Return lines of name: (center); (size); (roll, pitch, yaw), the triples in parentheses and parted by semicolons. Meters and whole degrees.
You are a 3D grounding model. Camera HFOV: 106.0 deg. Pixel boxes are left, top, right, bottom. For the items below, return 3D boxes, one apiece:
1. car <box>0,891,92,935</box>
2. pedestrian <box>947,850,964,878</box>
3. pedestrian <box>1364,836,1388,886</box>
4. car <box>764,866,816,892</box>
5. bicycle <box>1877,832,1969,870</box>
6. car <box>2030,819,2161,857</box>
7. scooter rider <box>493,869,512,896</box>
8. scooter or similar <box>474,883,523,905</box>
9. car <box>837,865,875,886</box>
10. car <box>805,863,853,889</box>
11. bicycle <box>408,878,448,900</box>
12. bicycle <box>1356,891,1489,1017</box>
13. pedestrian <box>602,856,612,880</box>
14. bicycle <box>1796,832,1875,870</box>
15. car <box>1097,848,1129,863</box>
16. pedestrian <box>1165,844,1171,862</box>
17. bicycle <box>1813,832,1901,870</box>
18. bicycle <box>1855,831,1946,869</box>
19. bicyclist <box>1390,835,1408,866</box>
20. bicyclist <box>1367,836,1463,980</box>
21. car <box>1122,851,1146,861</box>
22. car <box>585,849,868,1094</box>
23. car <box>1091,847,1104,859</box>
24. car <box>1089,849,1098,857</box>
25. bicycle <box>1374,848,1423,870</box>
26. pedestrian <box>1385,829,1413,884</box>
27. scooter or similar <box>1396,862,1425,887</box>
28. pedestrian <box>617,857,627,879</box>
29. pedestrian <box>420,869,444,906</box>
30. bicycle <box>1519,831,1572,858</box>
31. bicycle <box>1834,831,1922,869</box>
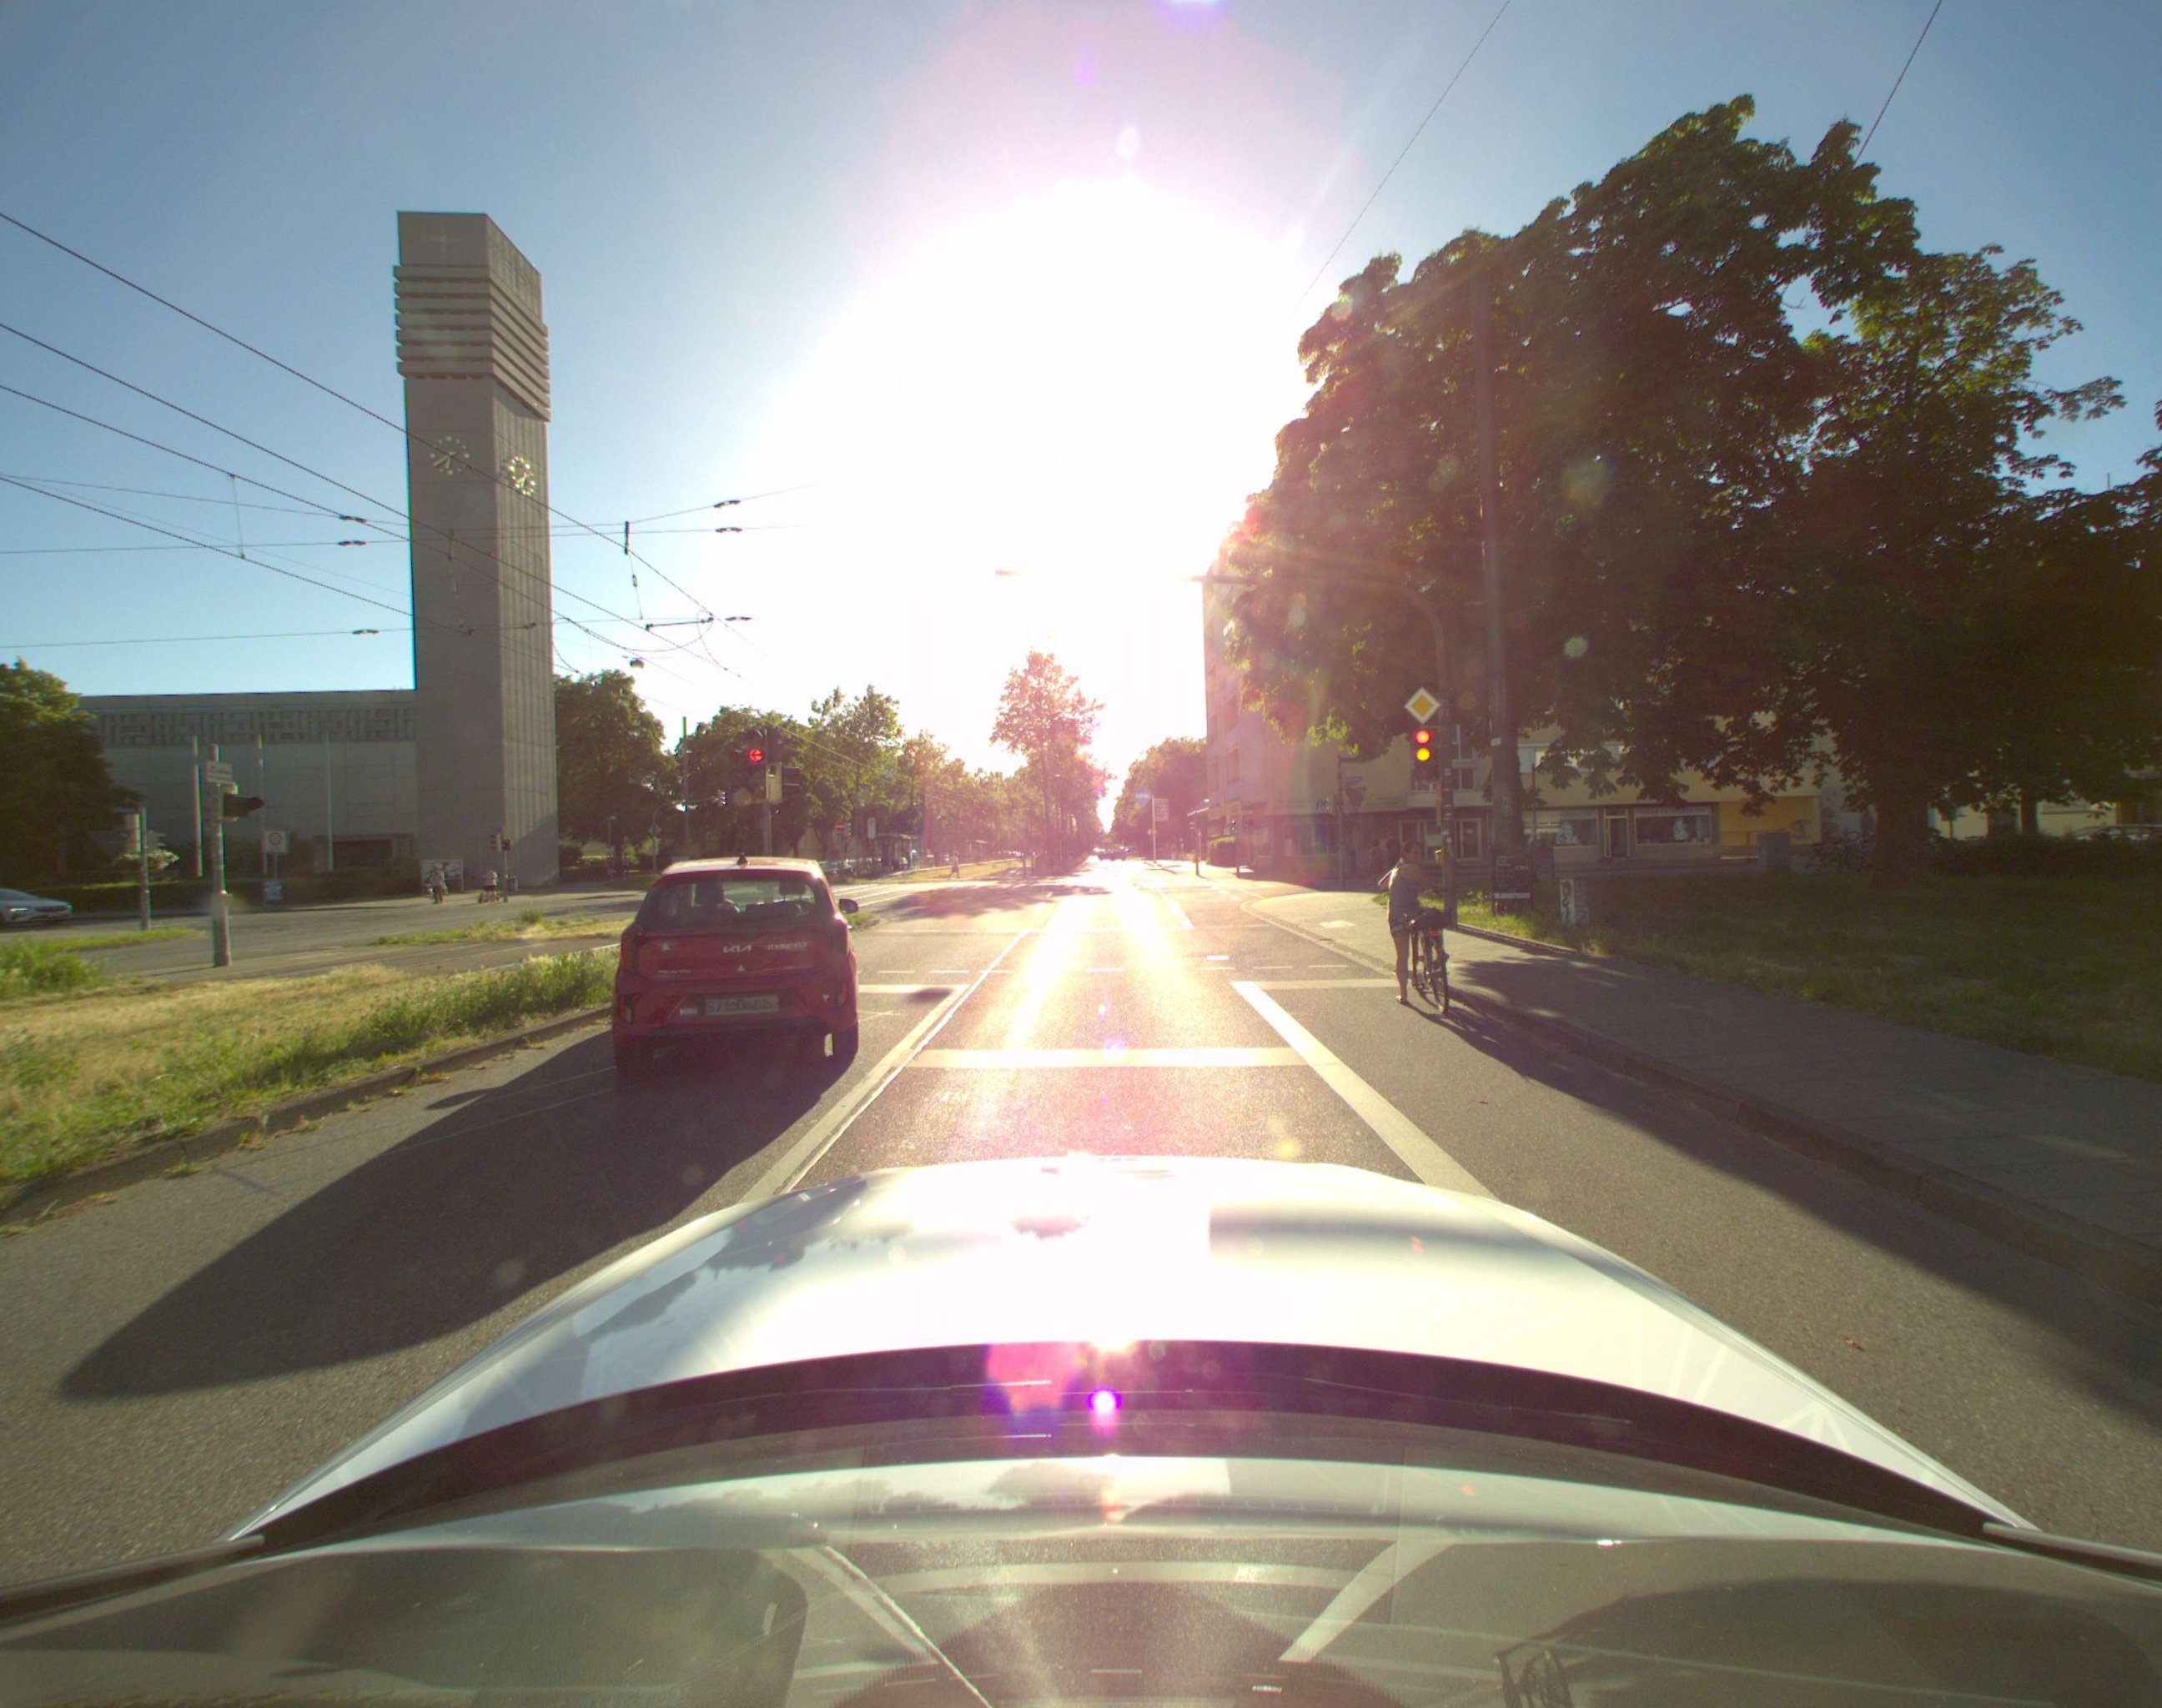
car: (-39.421, 2.103, 29.386); (4.694, 1.401, 1.997); (1, 0, -5)
pedestrian: (-7.262, 0.550, 47.103); (0.887, 1.606, 0.614); (1, 0, 1)
pedestrian: (9.120, 0.210, 25.169); (0.642, 1.522, 0.498); (1, 0, 14)
car: (-19.466, 1.617, 54.675); (1.800, 1.533, 4.363); (-2, 0, 2)
bicycle: (23.907, -0.084, 23.181); (0.595, 1.034, 2.007); (1, 0, 1)
car: (46.818, -0.739, 36.547); (5.044, 1.494, 2.243); (-1, 2, 25)
scooter rider: (-26.910, 1.337, 37.883); (0.526, 1.218, 0.585); (1, 0, -14)
scooter or similar: (-27.052, 1.850, 37.850); (1.737, 0.899, 0.561); (-2, 0, -15)
car: (-16.748, 1.601, 60.798); (1.560, 1.402, 3.916); (1, 0, 2)
car: (-16.884, 1.454, 54.678); (1.681, 1.533, 4.363); (-2, 0, 2)
bicycle: (-33.568, 1.778, 41.871); (0.488, 1.045, 1.687); (1, 0, 9)
bicycle: (3.225, 0.898, 7.870); (0.645, 0.972, 1.806); (1, 0, 4)
pedestrian: (-32.154, 0.949, 55.256); (0.434, 1.560, 0.305); (1, 0, -3)
bicycle: (21.338, -0.077, 23.077); (0.595, 1.034, 1.796); (1, 0, 1)
car: (4.001, 0.150, 100.799); (2.019, 1.860, 3.958); (0, 0, -34)
pedestrian: (8.616, -0.077, 80.553); (0.572, 1.747, 0.506); (1, 0, 1)
bicycle: (21.985, -0.097, 23.127); (0.595, 1.034, 2.007); (1, 0, 1)
bicycle: (23.270, -0.118, 23.173); (0.595, 1.034, 2.007); (1, 0, 1)
bicyclist: (16.024, -0.187, 41.066); (0.762, 1.471, 0.902); (-2, 1, 18)
bicyclist: (3.230, 0.500, 7.939); (0.635, 1.323, 0.804); (1, 0, 4)
car: (9.737, 0.381, 149.402); (4.009, 1.750, 1.740); (0, 0, -27)
car: (-2.837, 0.715, 7.060); (1.699, 1.508, 3.676); (0, 0, -18)
car: (2.663, -0.185, 133.757); (1.962, 1.859, 4.000); (1, 0, 0)
car: (2.629, -0.172, 175.239); (1.887, 1.611, 4.500); (1, 0, 0)
bicycle: (16.010, 0.268, 41.081); (2.234, 0.987, 0.792); (-1, 5, 16)
pedestrian: (9.865, 0.066, 25.277); (0.724, 1.682, 0.534); (1, 0, 14)
scooter or similar: (9.985, 0.618, 24.709); (0.595, 0.737, 0.681); (1, 0, 1)
pedestrian: (-31.220, 0.966, 55.380); (0.434, 1.507, 0.488); (1, 0, -3)
pedestrian: (-29.510, 1.523, 37.044); (0.440, 1.666, 0.748); (1, 0, 11)
bicycle: (24.949, -0.509, 43.765); (2.462, 1.399, 0.608); (1, 0, 0)
bicycle: (22.639, -0.112, 23.191); (0.595, 1.034, 1.991); (1, 0, 1)
